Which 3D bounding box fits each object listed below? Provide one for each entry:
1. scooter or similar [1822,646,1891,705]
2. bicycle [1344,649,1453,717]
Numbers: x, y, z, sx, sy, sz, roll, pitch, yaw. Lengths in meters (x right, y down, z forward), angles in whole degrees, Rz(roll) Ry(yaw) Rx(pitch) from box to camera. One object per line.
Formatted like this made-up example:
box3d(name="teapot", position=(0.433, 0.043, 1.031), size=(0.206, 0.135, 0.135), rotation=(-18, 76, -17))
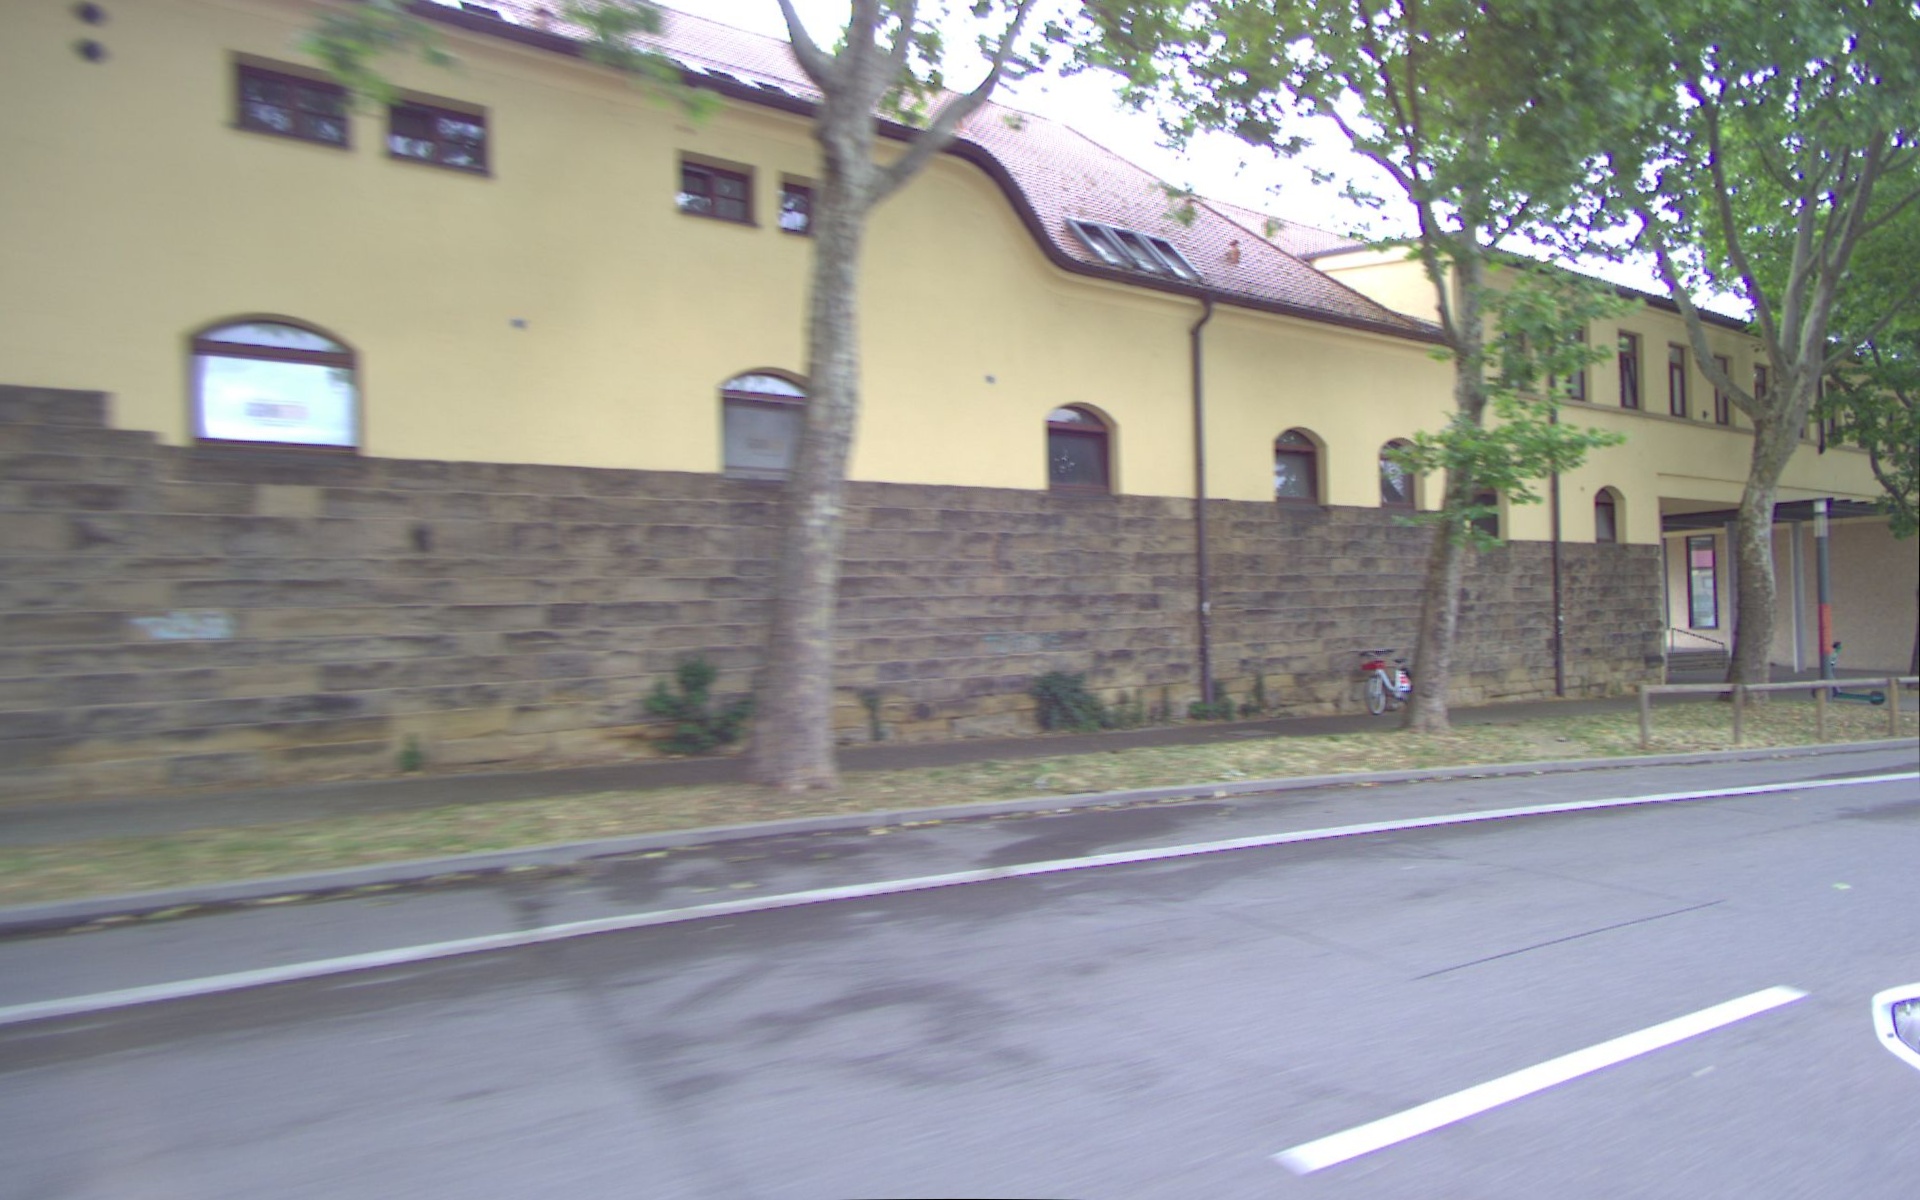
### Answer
box3d(name="scooter or similar", position=(18.882, 1.569, 21.164), size=(0.487, 1.200, 1.020), rotation=(1, -2, -40))
box3d(name="bicycle", position=(7.771, 1.443, 17.768), size=(2.169, 1.106, 0.593), rotation=(1, 0, -30))
